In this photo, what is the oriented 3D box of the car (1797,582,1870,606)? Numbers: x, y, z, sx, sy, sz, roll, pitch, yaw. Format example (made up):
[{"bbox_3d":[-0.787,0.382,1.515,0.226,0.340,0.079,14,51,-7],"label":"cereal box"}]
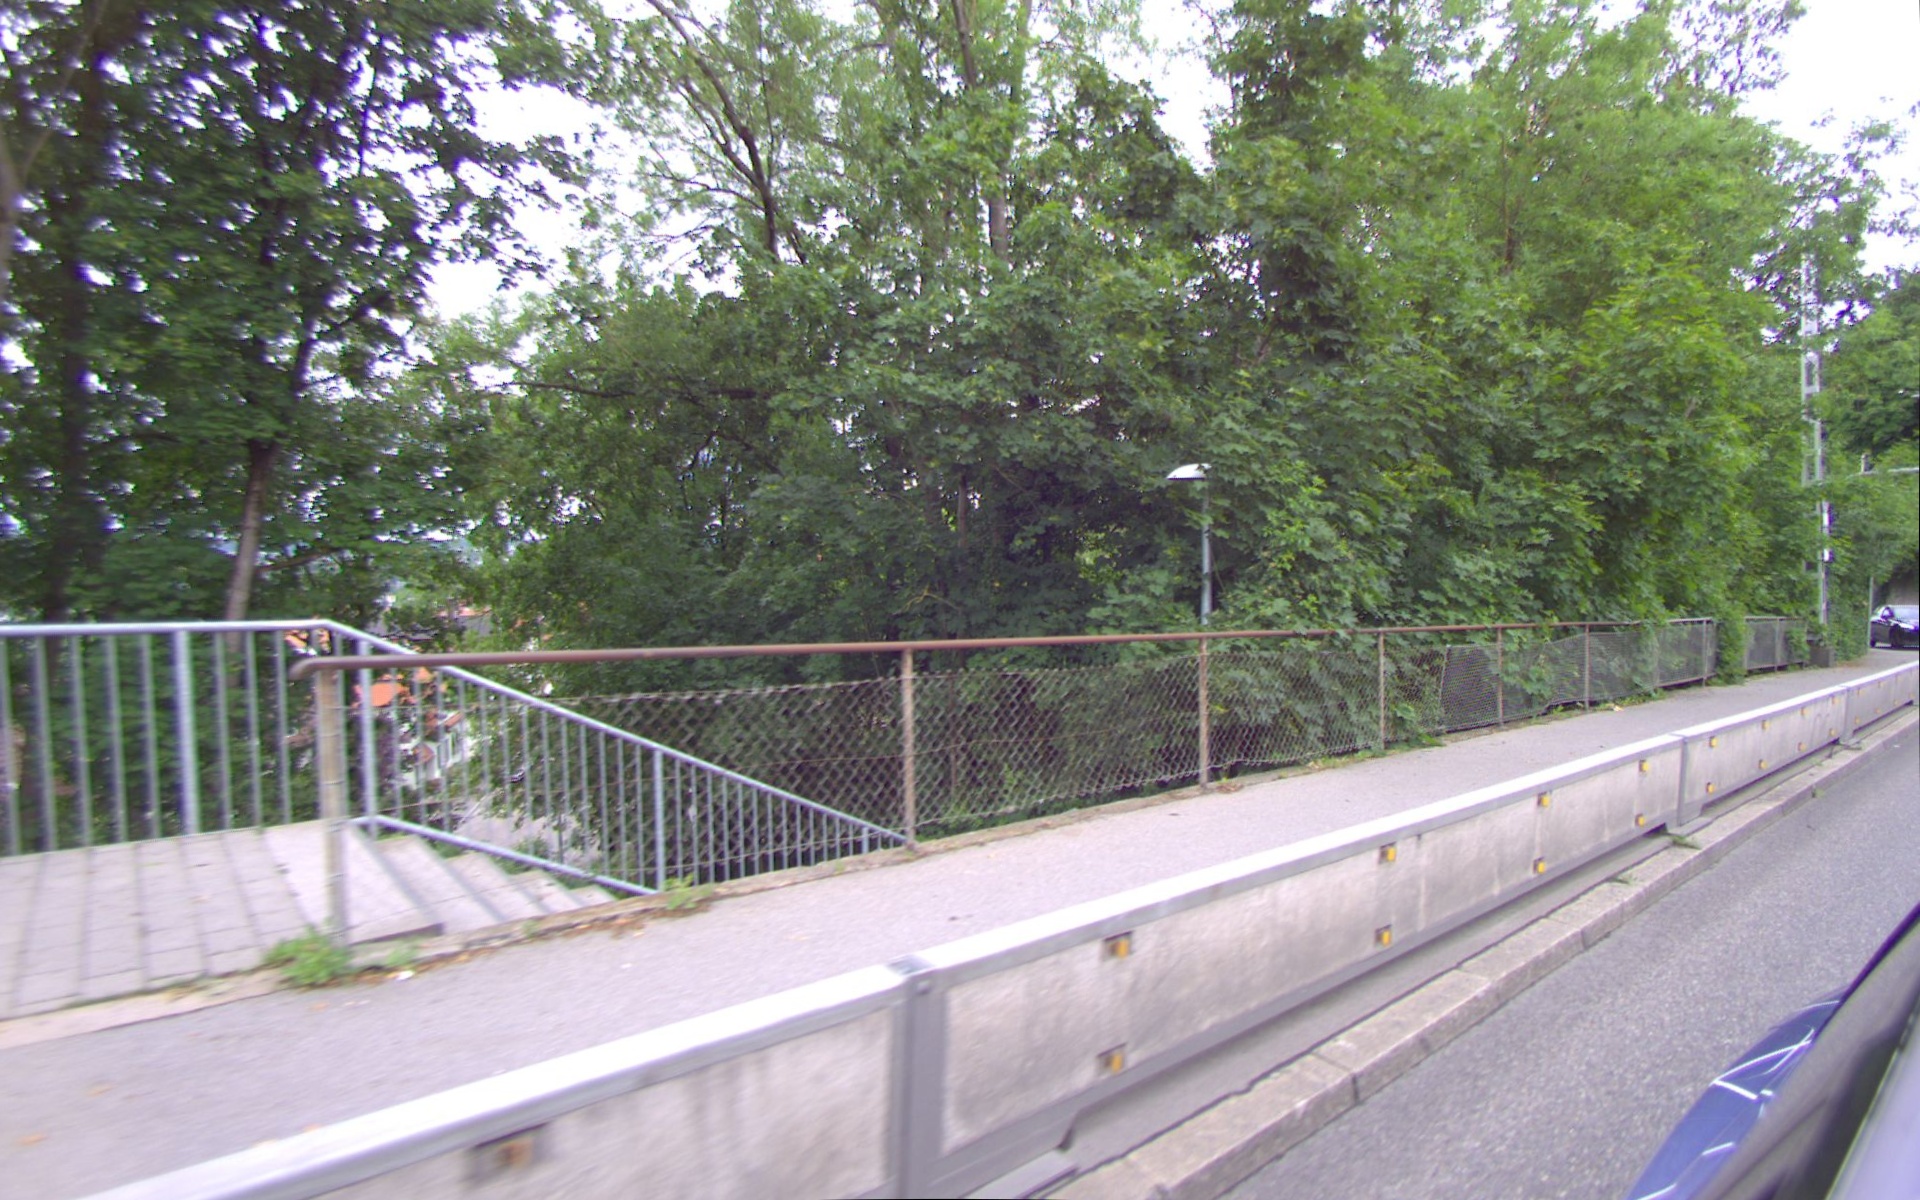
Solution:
[{"bbox_3d":[59.191,-0.414,68.665,1.690,1.548,4.288,-2,0,10],"label":"car"}]

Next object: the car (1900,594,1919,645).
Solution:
[{"bbox_3d":[32.592,0.615,33.728,1.772,1.561,3.939,-2,0,43],"label":"car"}]
